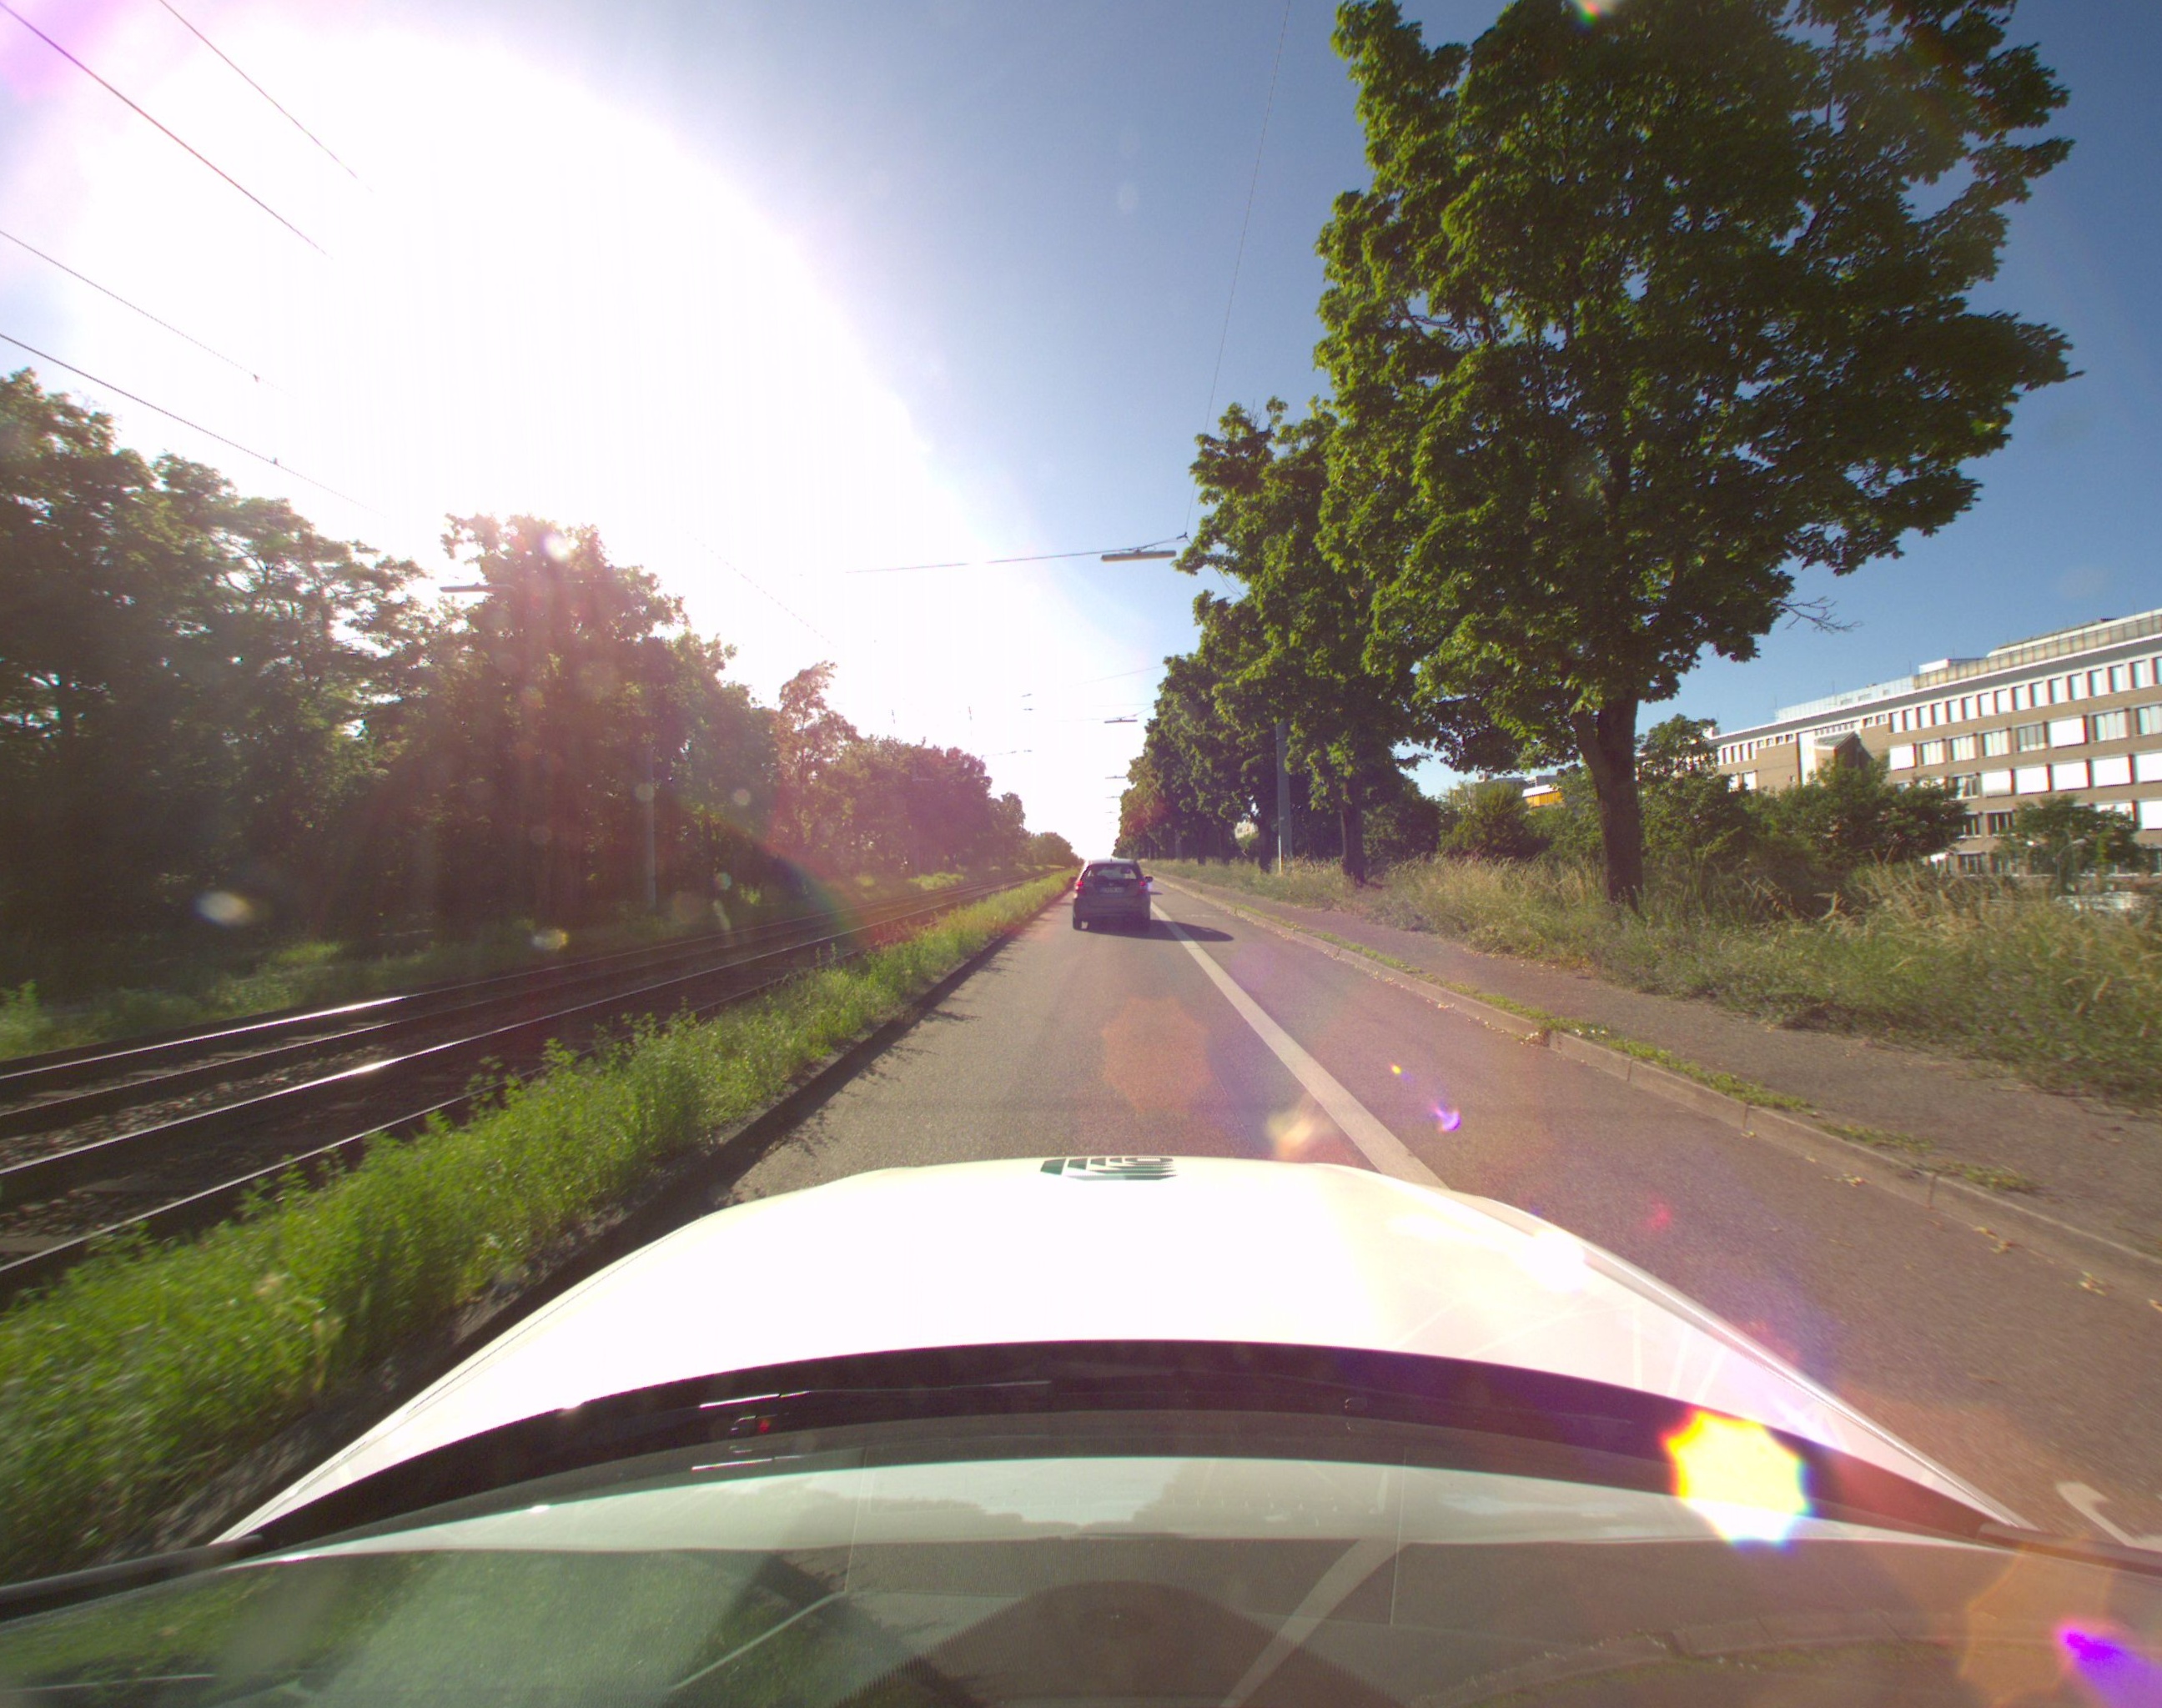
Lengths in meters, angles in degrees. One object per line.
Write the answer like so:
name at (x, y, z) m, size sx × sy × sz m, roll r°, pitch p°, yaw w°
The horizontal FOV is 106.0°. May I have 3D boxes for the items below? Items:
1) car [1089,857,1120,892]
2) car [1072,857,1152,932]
car at (1.055, 0.948, 37.929) m, size 1.347 × 1.528 × 3.123 m, roll -2°, pitch -2°, yaw 0°
car at (0.664, 0.838, 18.625) m, size 1.665 × 1.515 × 3.674 m, roll 0°, pitch 0°, yaw 1°
